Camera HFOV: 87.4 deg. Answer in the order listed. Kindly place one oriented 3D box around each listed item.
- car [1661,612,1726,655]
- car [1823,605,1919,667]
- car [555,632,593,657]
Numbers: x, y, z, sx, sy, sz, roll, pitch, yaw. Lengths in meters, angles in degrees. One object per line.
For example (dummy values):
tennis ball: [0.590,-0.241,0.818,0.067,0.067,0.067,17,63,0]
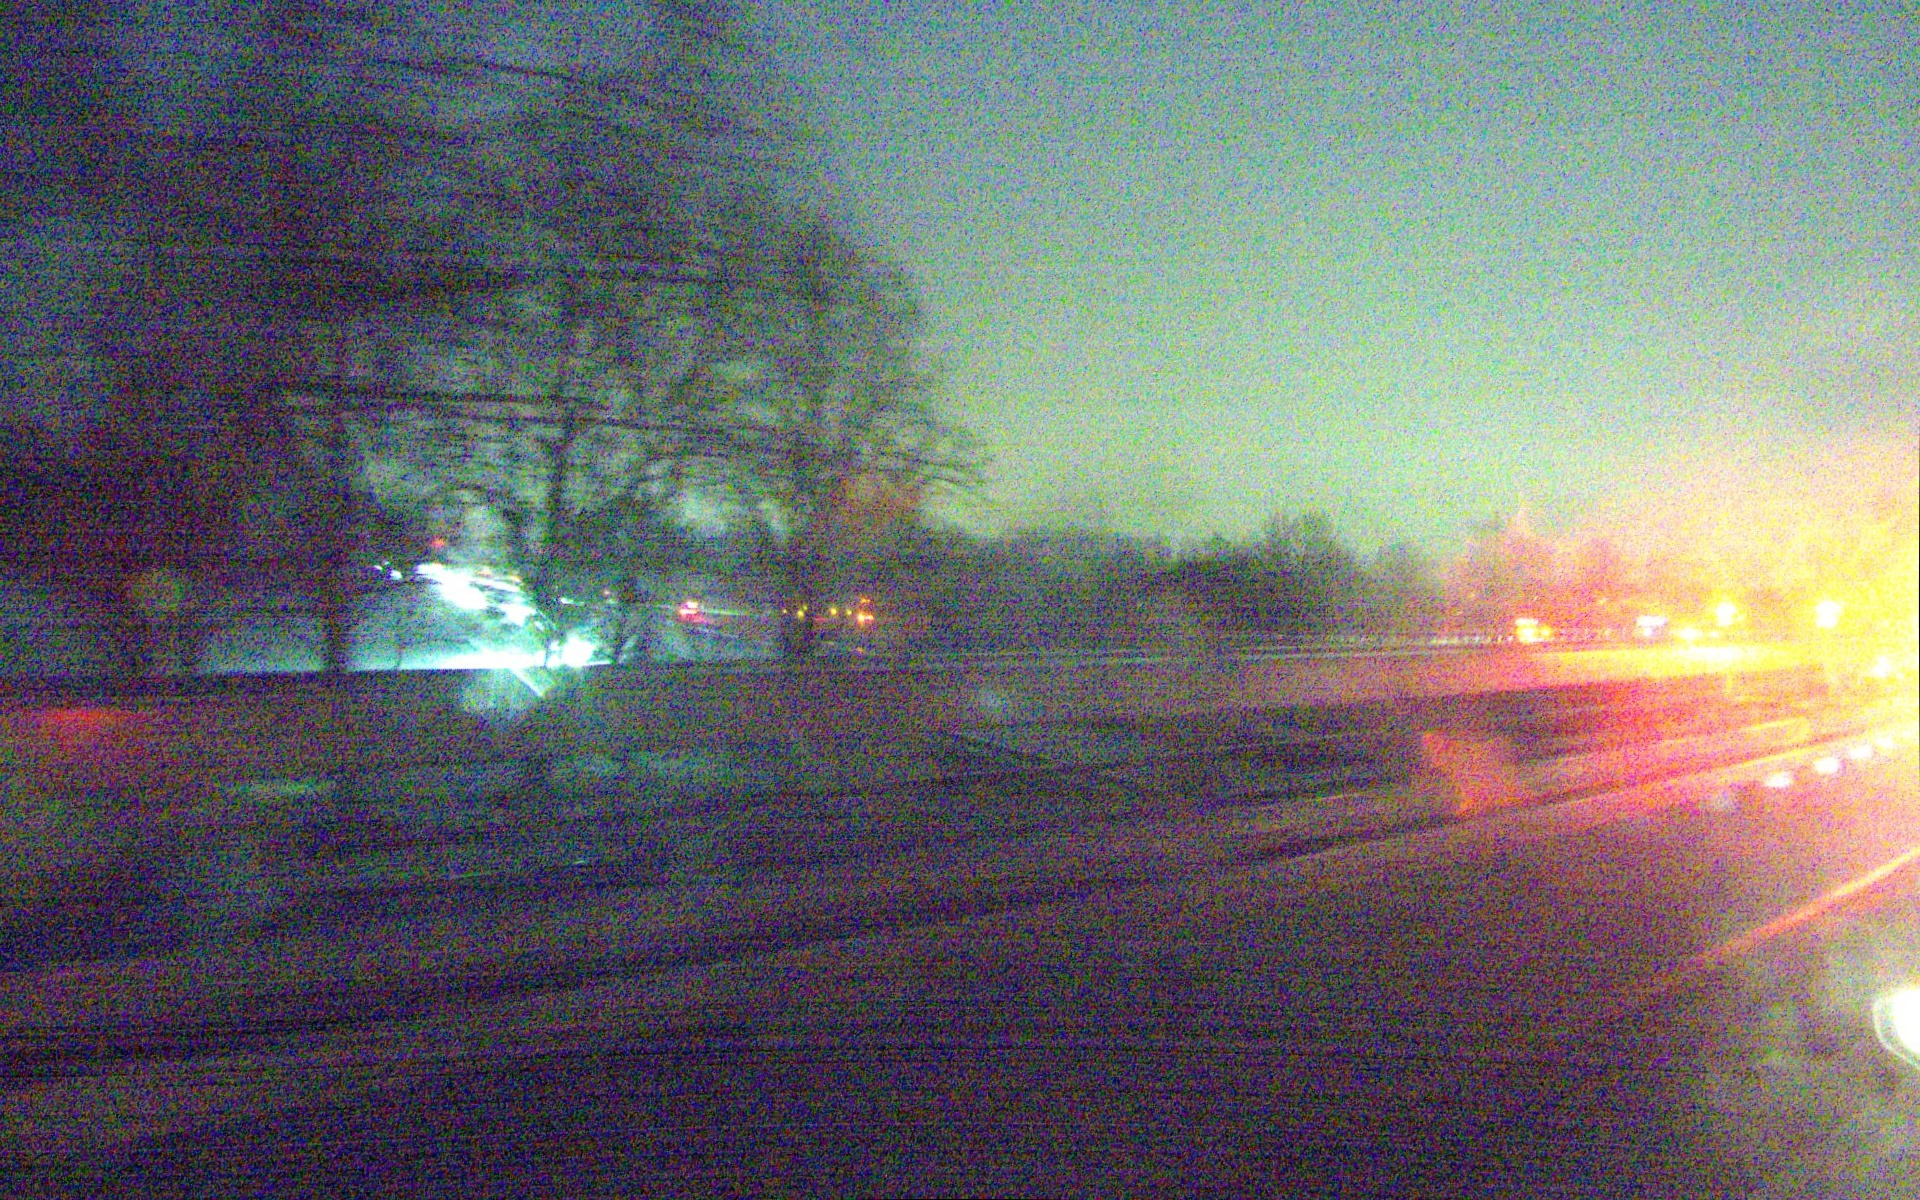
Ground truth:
car: [36.713,1.628,50.382,1.866,2.024,4.042,0,0,25]
car: [32.736,1.249,35.978,1.866,2.067,4.040,1,-1,28]
car: [-29.903,3.430,77.881,1.888,1.775,4.238,2,-1,-9]
